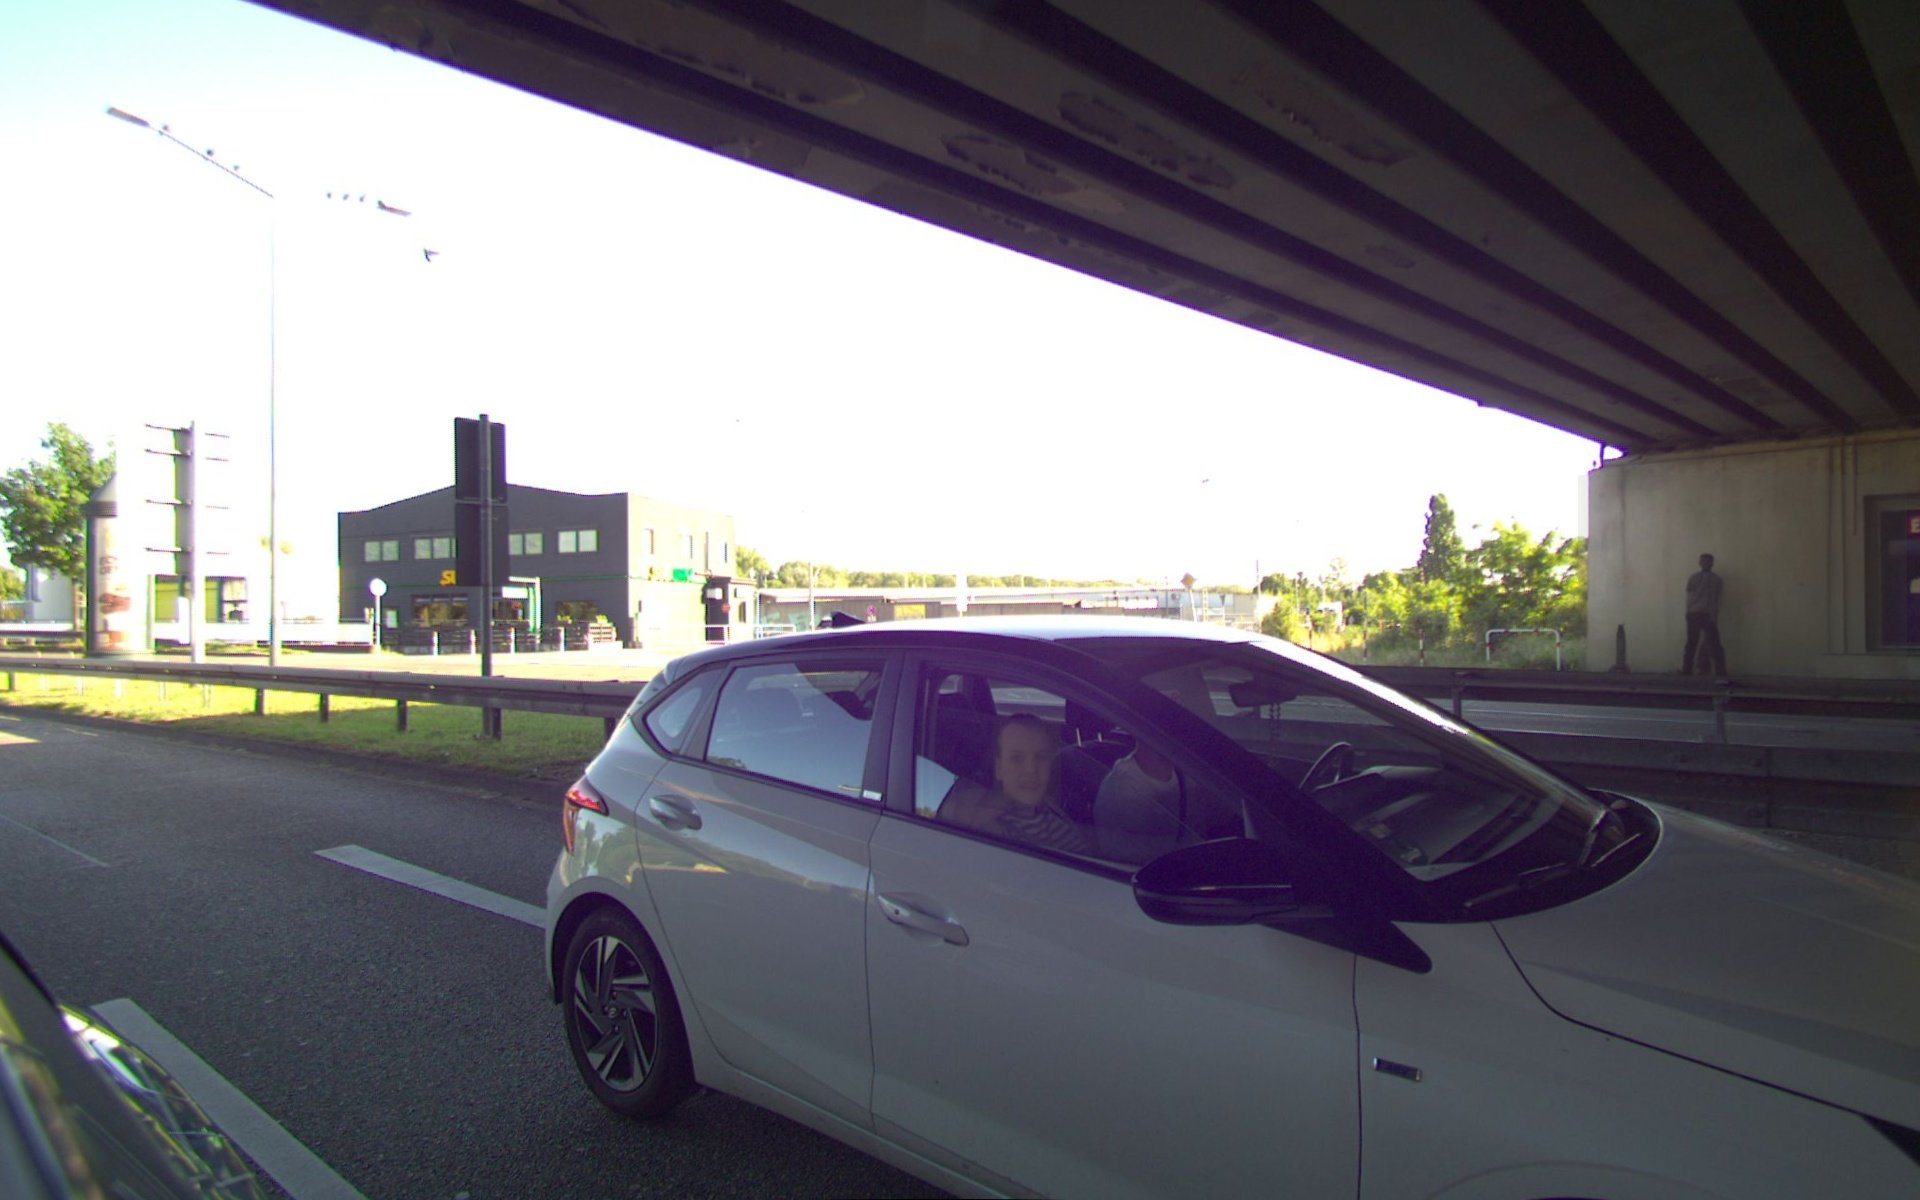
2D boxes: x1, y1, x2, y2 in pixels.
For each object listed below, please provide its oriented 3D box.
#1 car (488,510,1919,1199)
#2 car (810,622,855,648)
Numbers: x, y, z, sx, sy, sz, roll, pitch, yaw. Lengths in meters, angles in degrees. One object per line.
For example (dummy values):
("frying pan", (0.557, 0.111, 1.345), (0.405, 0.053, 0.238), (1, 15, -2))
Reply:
("car", (0.566, 0.683, 2.659), (3.986, 1.491, 1.716), (-2, -2, 39))
("car", (-6.868, 1.920, 54.969), (1.806, 1.291, 4.180), (1, -3, 1))
